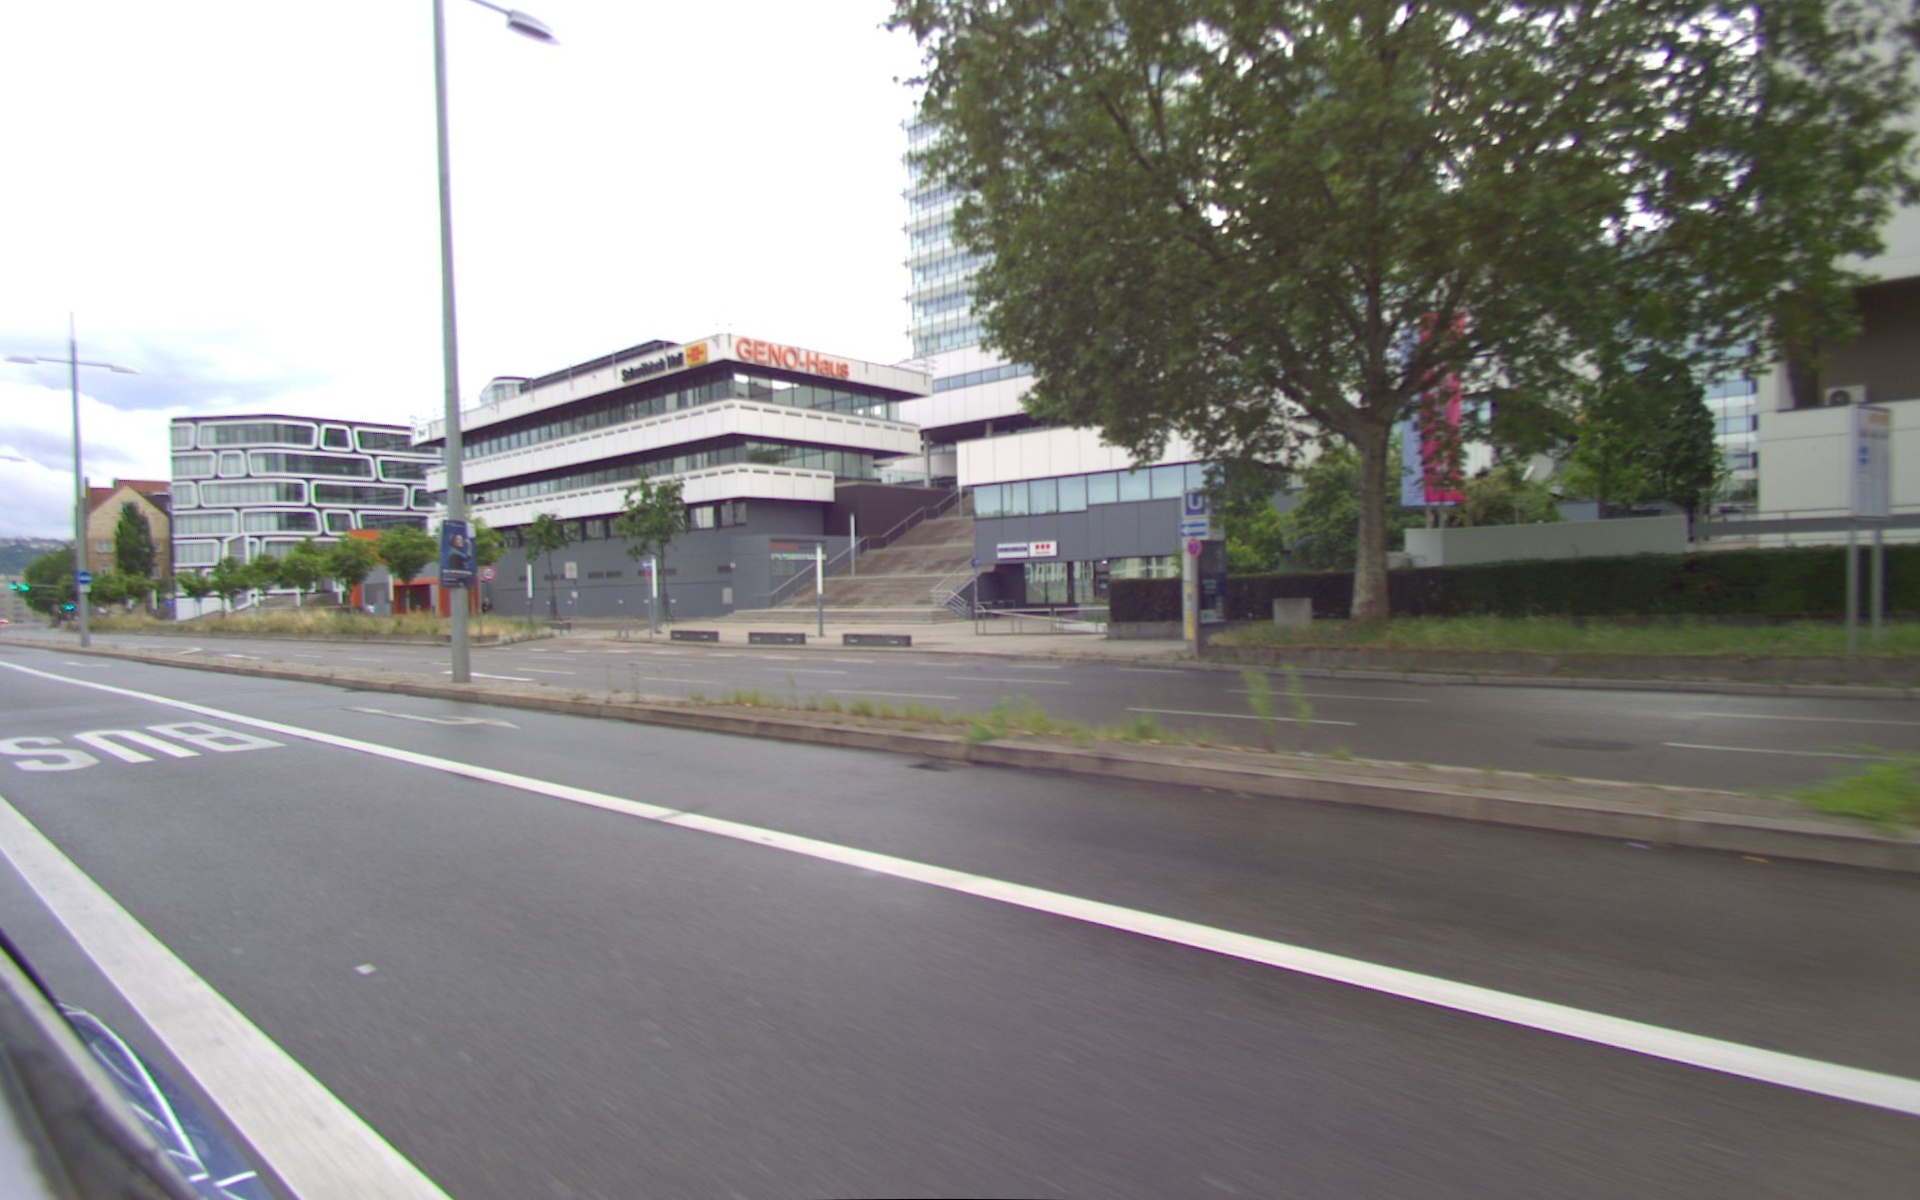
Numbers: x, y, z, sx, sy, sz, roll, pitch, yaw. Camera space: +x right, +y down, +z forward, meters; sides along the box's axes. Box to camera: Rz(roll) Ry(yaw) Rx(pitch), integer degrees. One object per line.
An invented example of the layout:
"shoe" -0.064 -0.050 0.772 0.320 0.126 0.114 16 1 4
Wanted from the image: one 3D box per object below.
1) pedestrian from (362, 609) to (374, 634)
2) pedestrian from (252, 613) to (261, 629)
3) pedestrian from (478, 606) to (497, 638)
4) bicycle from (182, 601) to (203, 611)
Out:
"pedestrian" -43.792 1.613 74.837 0.628 1.821 0.623 -1 0 42
"pedestrian" -72.864 2.143 104.770 0.640 1.623 0.604 -1 2 45
"pedestrian" -27.470 1.280 58.849 0.628 1.821 0.776 -1 0 42
"bicycle" -71.886 0.547 94.769 1.638 0.864 0.608 -1 0 9
